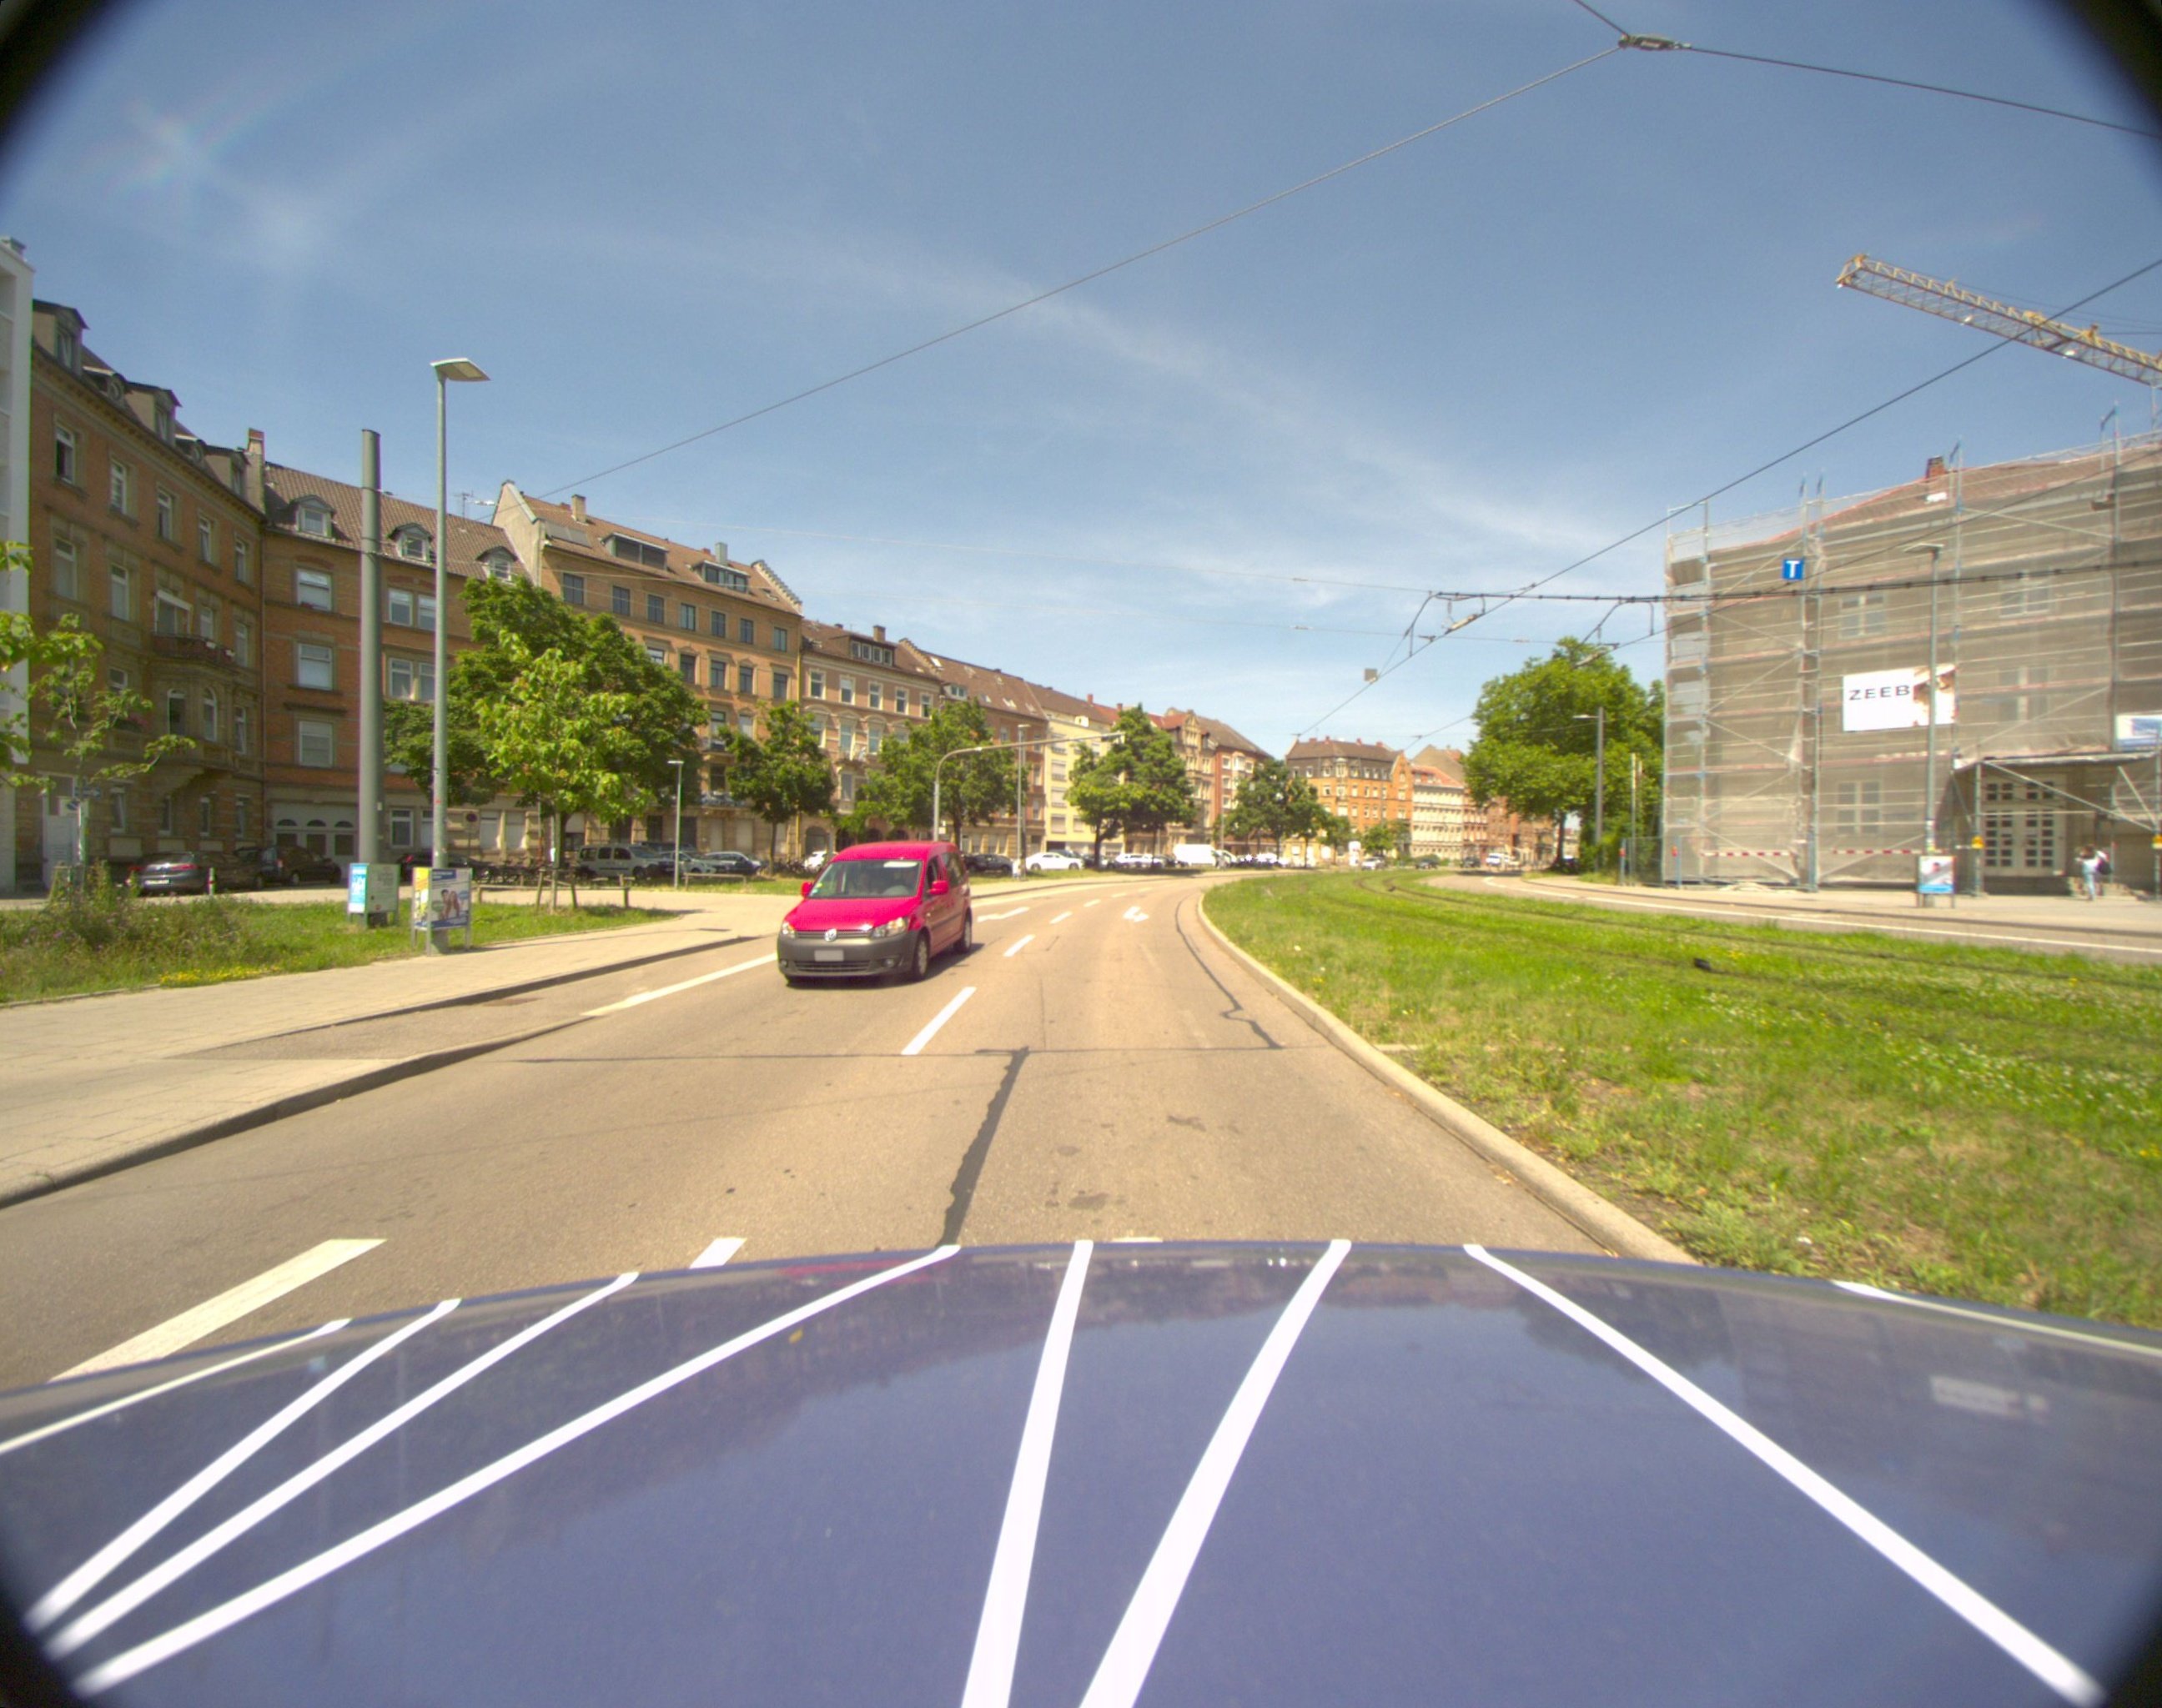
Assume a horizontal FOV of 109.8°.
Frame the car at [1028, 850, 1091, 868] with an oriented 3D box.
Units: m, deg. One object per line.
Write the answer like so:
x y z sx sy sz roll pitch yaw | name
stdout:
-1.682 0.374 59.721 4.785 1.305 2.149 -1 0 -2 | car

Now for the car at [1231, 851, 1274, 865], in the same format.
19.456 0.416 86.248 4.624 1.488 1.968 -1 0 15 | car

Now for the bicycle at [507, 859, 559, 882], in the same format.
-23.777 0.715 32.944 2.047 0.930 0.509 -1 0 9 | bicycle

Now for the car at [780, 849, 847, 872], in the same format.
-18.541 0.462 52.770 1.837 1.521 4.009 -1 -1 41 | car

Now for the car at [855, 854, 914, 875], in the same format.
-14.792 0.763 57.437 1.837 1.521 4.009 -1 -1 37 | car

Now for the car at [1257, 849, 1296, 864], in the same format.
23.435 0.312 91.083 4.403 1.622 2.003 -1 0 18 | car

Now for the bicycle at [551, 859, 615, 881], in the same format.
-21.998 0.698 33.589 2.426 0.930 0.508 -1 0 -4 | bicycle

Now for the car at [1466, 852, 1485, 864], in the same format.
57.140 0.576 109.998 1.796 1.564 4.009 -1 -1 38 | car

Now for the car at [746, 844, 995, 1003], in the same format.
-2.738 0.835 11.353 1.859 1.823 5.169 -1 -1 5 | car

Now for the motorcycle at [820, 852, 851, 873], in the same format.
-13.317 0.461 41.150 1.823 1.113 0.529 -1 0 33 | motorcycle

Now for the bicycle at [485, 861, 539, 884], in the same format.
-23.707 0.775 31.653 2.047 0.930 0.509 -1 0 9 | bicycle

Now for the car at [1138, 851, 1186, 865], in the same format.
7.702 0.392 72.305 4.427 1.330 1.973 -1 0 3 | car

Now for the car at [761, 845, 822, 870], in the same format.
-16.971 0.221 44.413 1.961 1.368 3.989 0 -1 -43 | car

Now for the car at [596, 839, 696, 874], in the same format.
-25.295 0.158 44.309 1.920 1.892 4.664 -1 -1 40 | car

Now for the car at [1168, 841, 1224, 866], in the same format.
11.862 -0.060 78.728 5.546 2.446 2.239 -1 0 3 | car

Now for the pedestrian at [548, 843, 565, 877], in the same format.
-27.923 0.308 40.449 0.452 1.808 0.604 -1 0 39 | pedestrian

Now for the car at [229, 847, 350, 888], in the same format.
-31.508 0.518 30.421 1.779 1.520 4.075 -1 -1 -21 | car

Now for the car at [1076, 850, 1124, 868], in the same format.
1.624 0.427 64.448 3.996 1.392 1.713 -1 0 3 | car

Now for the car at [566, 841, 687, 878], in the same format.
-21.128 0.270 35.386 4.866 1.591 1.838 -1 0 12 | car

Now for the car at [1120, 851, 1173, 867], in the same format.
5.960 0.459 69.311 4.688 1.419 1.973 -1 0 3 | car

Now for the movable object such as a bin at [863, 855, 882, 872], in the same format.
-12.127 0.552 44.201 0.703 0.931 0.986 -1 0 -39 | movable object such as a bin

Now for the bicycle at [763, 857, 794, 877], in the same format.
-15.143 0.640 38.010 1.373 0.942 0.475 -1 0 -30 | bicycle

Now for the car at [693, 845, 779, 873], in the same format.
-18.034 0.270 39.804 3.862 1.424 1.609 -1 0 11 | car

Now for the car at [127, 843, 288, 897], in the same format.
-28.487 0.496 24.983 1.697 1.615 4.123 -1 -1 -21 | car

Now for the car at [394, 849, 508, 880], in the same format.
-30.684 0.510 37.099 1.772 1.411 4.009 -1 -1 38 | car

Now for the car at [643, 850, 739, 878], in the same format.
-19.319 0.510 37.687 3.993 1.324 1.761 -1 0 12 | car

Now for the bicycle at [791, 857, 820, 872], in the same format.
-15.053 0.576 41.525 1.457 0.800 0.498 -1 0 -16 | bicycle

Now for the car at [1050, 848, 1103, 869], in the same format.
-0.384 0.411 62.433 3.993 1.652 1.974 -1 0 12 | car

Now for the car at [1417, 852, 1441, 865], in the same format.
44.559 0.571 97.275 1.796 1.564 4.009 -1 -1 41 | car

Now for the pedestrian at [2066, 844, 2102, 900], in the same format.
27.449 0.491 20.805 0.590 1.509 0.579 -1 0 -37 | pedestrian

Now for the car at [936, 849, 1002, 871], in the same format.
-7.694 0.426 52.374 4.085 1.461 1.800 -1 0 12 | car

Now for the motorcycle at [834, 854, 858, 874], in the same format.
-14.240 0.598 46.005 0.814 1.229 2.080 -1 0 -35 | motorcycle

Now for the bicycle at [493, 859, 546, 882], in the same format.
-23.926 0.693 32.366 2.047 0.930 0.509 -1 0 9 | bicycle

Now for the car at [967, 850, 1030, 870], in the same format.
-5.853 0.420 54.213 3.992 1.305 1.975 -1 0 18 | car

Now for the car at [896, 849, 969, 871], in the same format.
-9.680 0.388 49.609 4.340 1.368 1.584 -1 0 14 | car

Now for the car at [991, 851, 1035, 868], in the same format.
-6.001 0.474 67.591 1.779 1.411 3.724 -1 -1 39 | car

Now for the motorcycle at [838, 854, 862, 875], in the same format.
-12.749 0.580 41.948 1.521 1.113 0.479 -1 0 39 | motorcycle

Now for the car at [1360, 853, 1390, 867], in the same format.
32.427 0.651 83.773 1.796 1.564 4.009 -1 -1 41 | car

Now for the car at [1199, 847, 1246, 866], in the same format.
15.085 0.244 81.253 4.840 1.961 2.078 -1 0 11 | car

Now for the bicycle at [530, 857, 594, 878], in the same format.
-23.310 0.593 34.143 2.426 0.930 0.508 0 1 -4 | bicycle

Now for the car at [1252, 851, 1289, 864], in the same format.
22.028 0.382 88.342 3.991 1.391 1.826 -1 0 18 | car
